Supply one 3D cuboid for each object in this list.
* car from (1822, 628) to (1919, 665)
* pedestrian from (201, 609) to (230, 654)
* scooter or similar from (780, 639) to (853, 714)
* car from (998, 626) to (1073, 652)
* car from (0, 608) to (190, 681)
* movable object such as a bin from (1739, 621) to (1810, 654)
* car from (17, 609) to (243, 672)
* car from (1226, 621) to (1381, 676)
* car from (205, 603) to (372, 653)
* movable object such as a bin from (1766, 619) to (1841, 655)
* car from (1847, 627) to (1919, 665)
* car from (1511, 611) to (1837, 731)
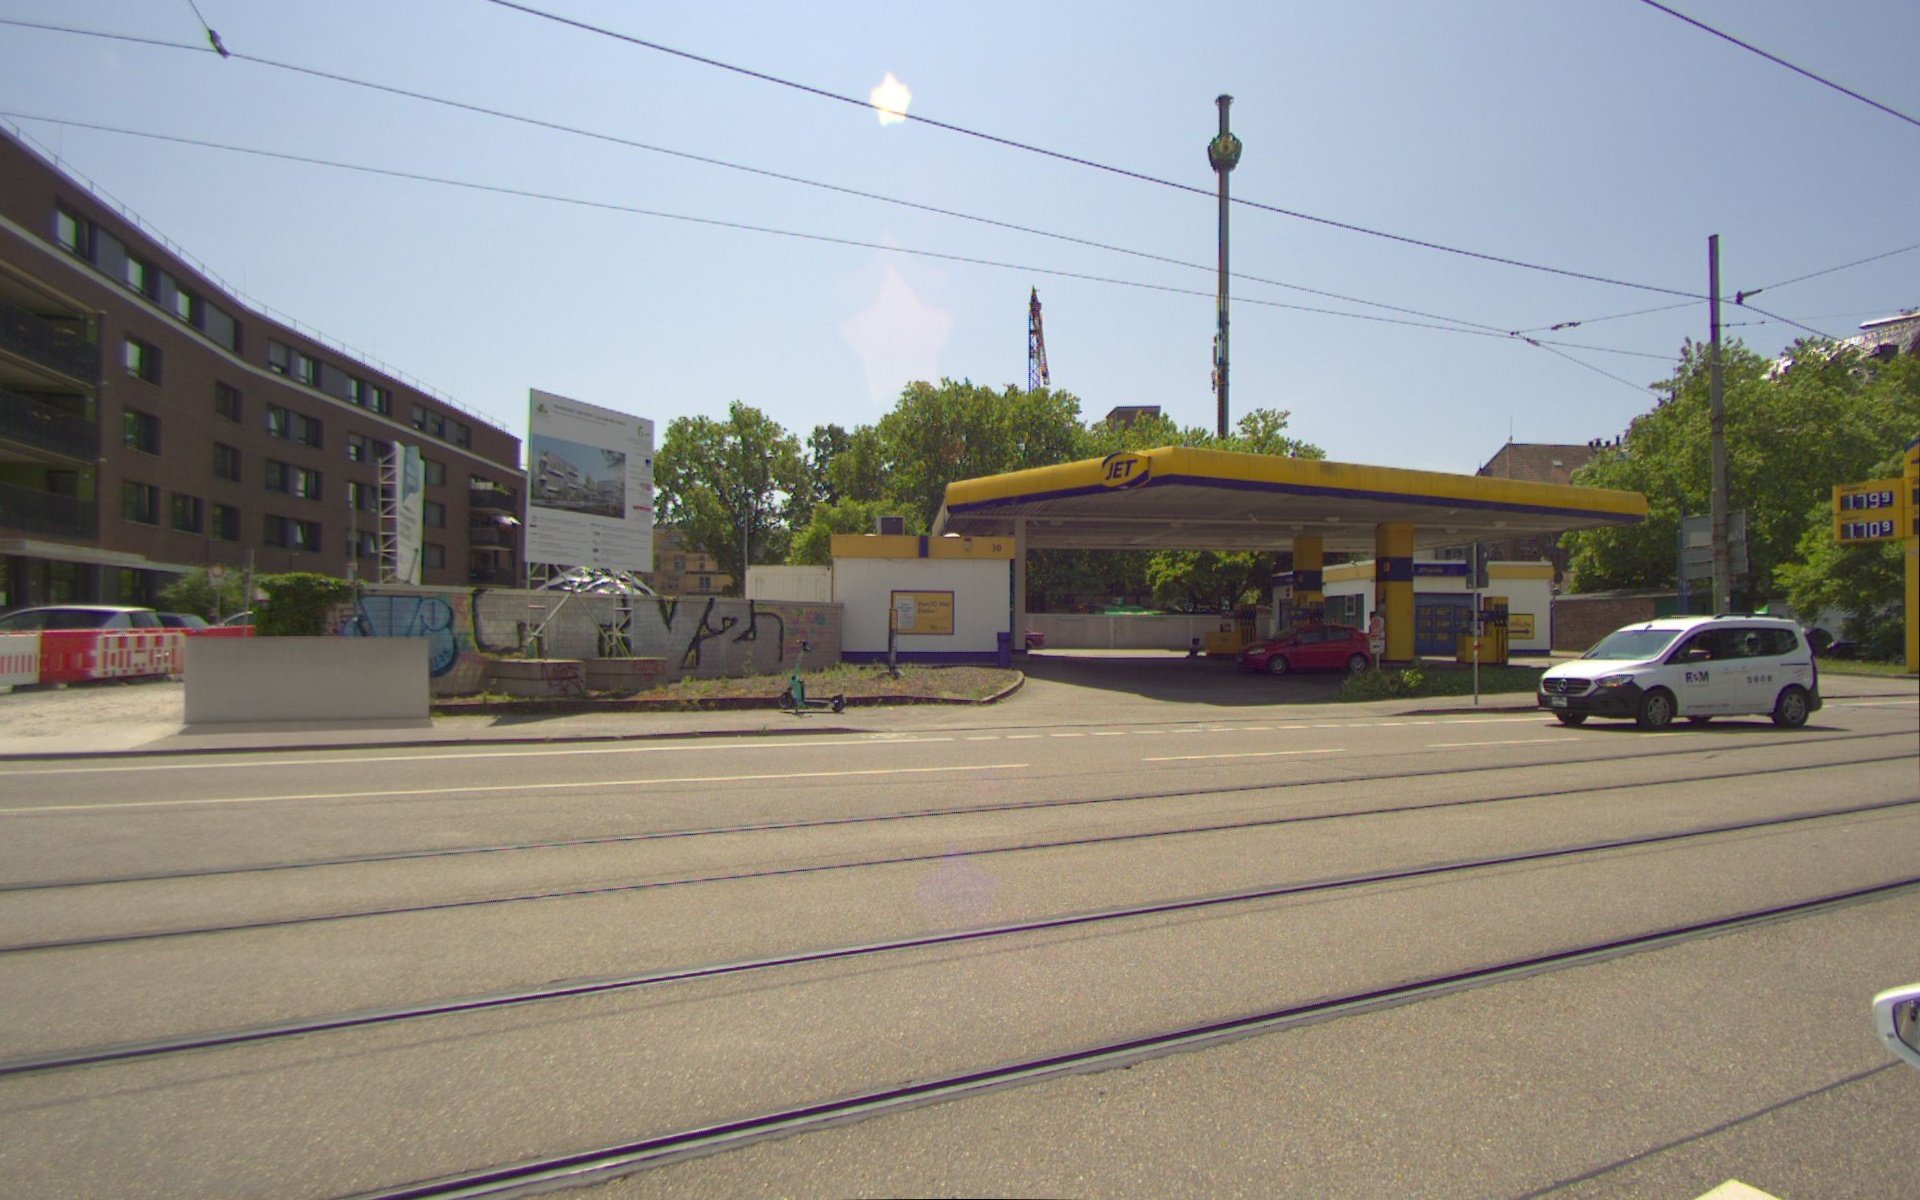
[{"bbox_3d":[40.914,2.023,44.004,4.361,1.508,1.936,1,0,11],"label":"car"},{"bbox_3d":[-28.315,1.184,38.217,0.674,1.685,0.603,1,0,-12],"label":"pedestrian"},{"bbox_3d":[-2.507,1.333,17.608,1.218,1.281,0.345,1,0,-4],"label":"scooter or similar"},{"bbox_3d":[4.326,2.249,58.048,4.157,1.428,1.720,1,-1,-2],"label":"car"},{"bbox_3d":[-19.374,0.947,21.701,3.935,1.488,1.731,1,-1,-17],"label":"car"},{"bbox_3d":[37.709,1.711,46.534,2.059,1.451,1.525,1,0,-4],"label":"movable object such as a bin"},{"bbox_3d":[-20.552,0.995,25.075,3.937,1.488,1.730,1,-1,-18],"label":"car"},{"bbox_3d":[10.423,1.451,30.658,4.119,1.525,1.830,0,1,-5],"label":"car"},{"bbox_3d":[-20.668,0.869,31.101,3.937,1.488,1.730,1,-1,-18],"label":"car"},{"bbox_3d":[37.705,1.656,44.936,2.059,1.529,1.525,1,0,-4],"label":"movable object such as a bin"},{"bbox_3d":[40.352,1.934,42.114,4.361,1.508,1.936,1,0,11],"label":"car"},{"bbox_3d":[11.895,1.133,16.846,4.473,1.823,1.996,1,-1,-12],"label":"car"}]
